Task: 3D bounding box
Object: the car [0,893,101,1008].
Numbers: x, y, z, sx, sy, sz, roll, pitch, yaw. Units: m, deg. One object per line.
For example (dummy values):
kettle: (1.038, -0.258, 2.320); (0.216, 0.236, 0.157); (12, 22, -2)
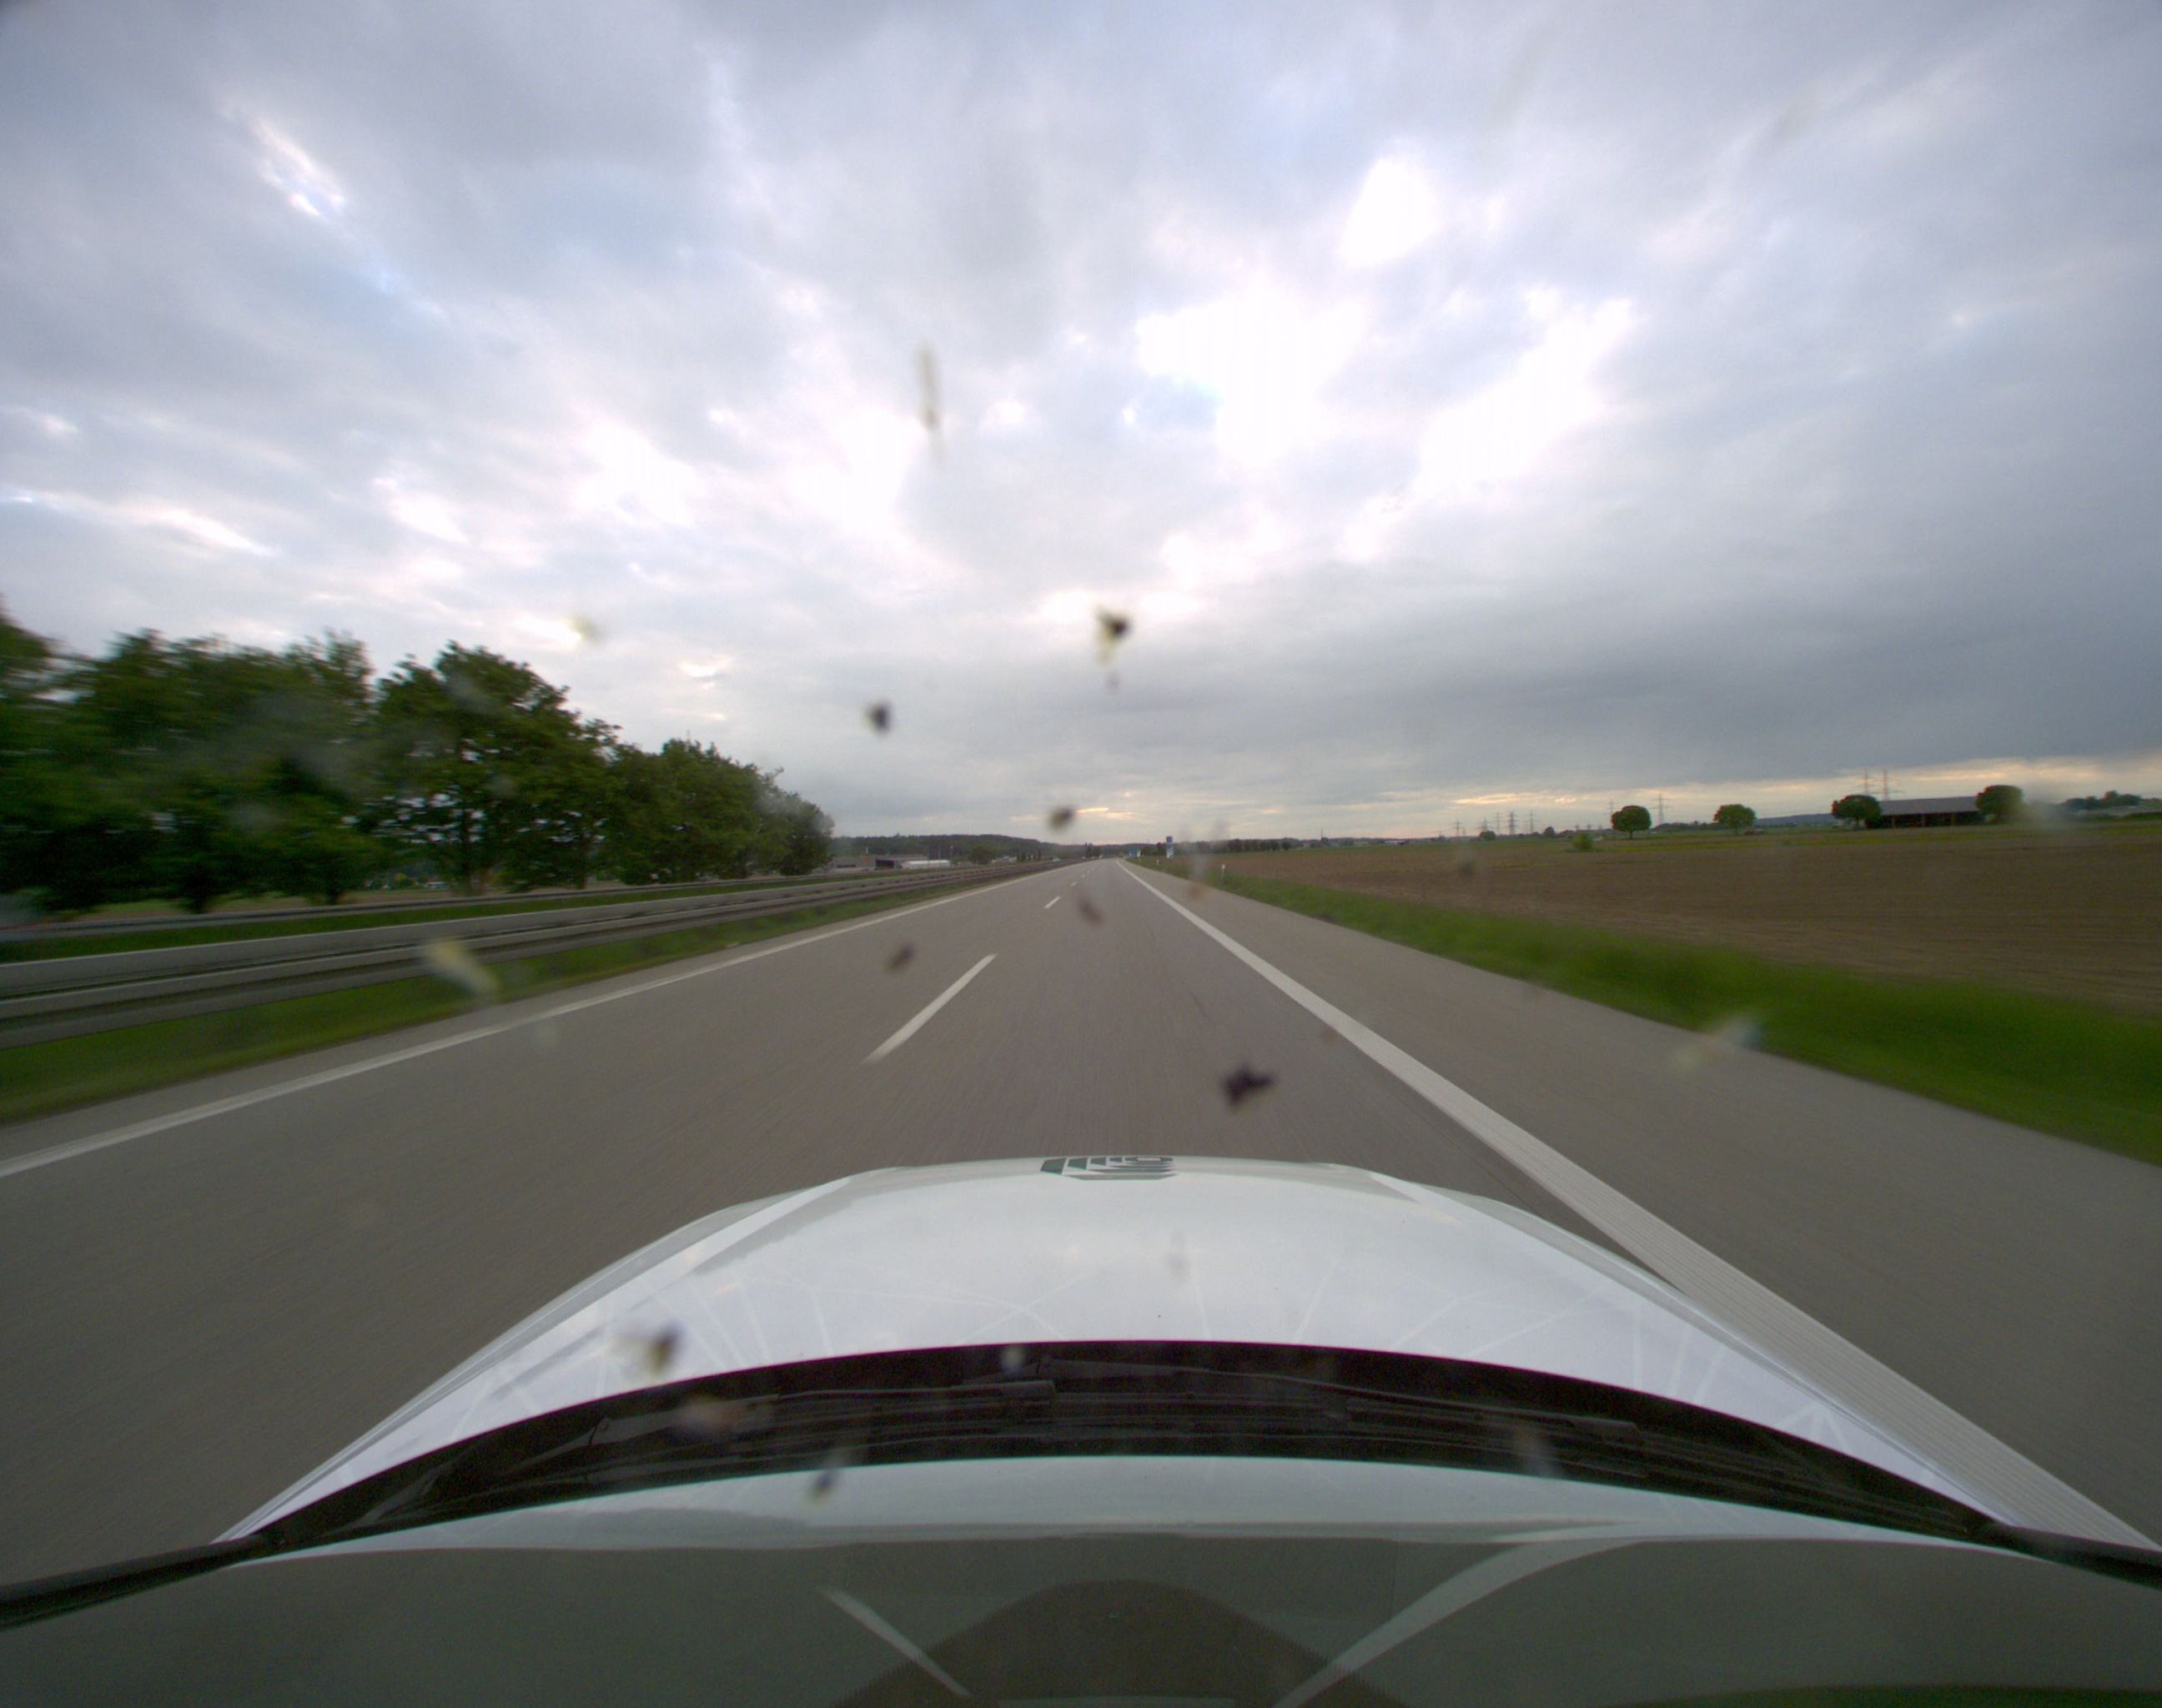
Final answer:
car: (-16.363, 1.391, 10.316); (1.986, 1.582, 4.811); (-1, 0, 2)
